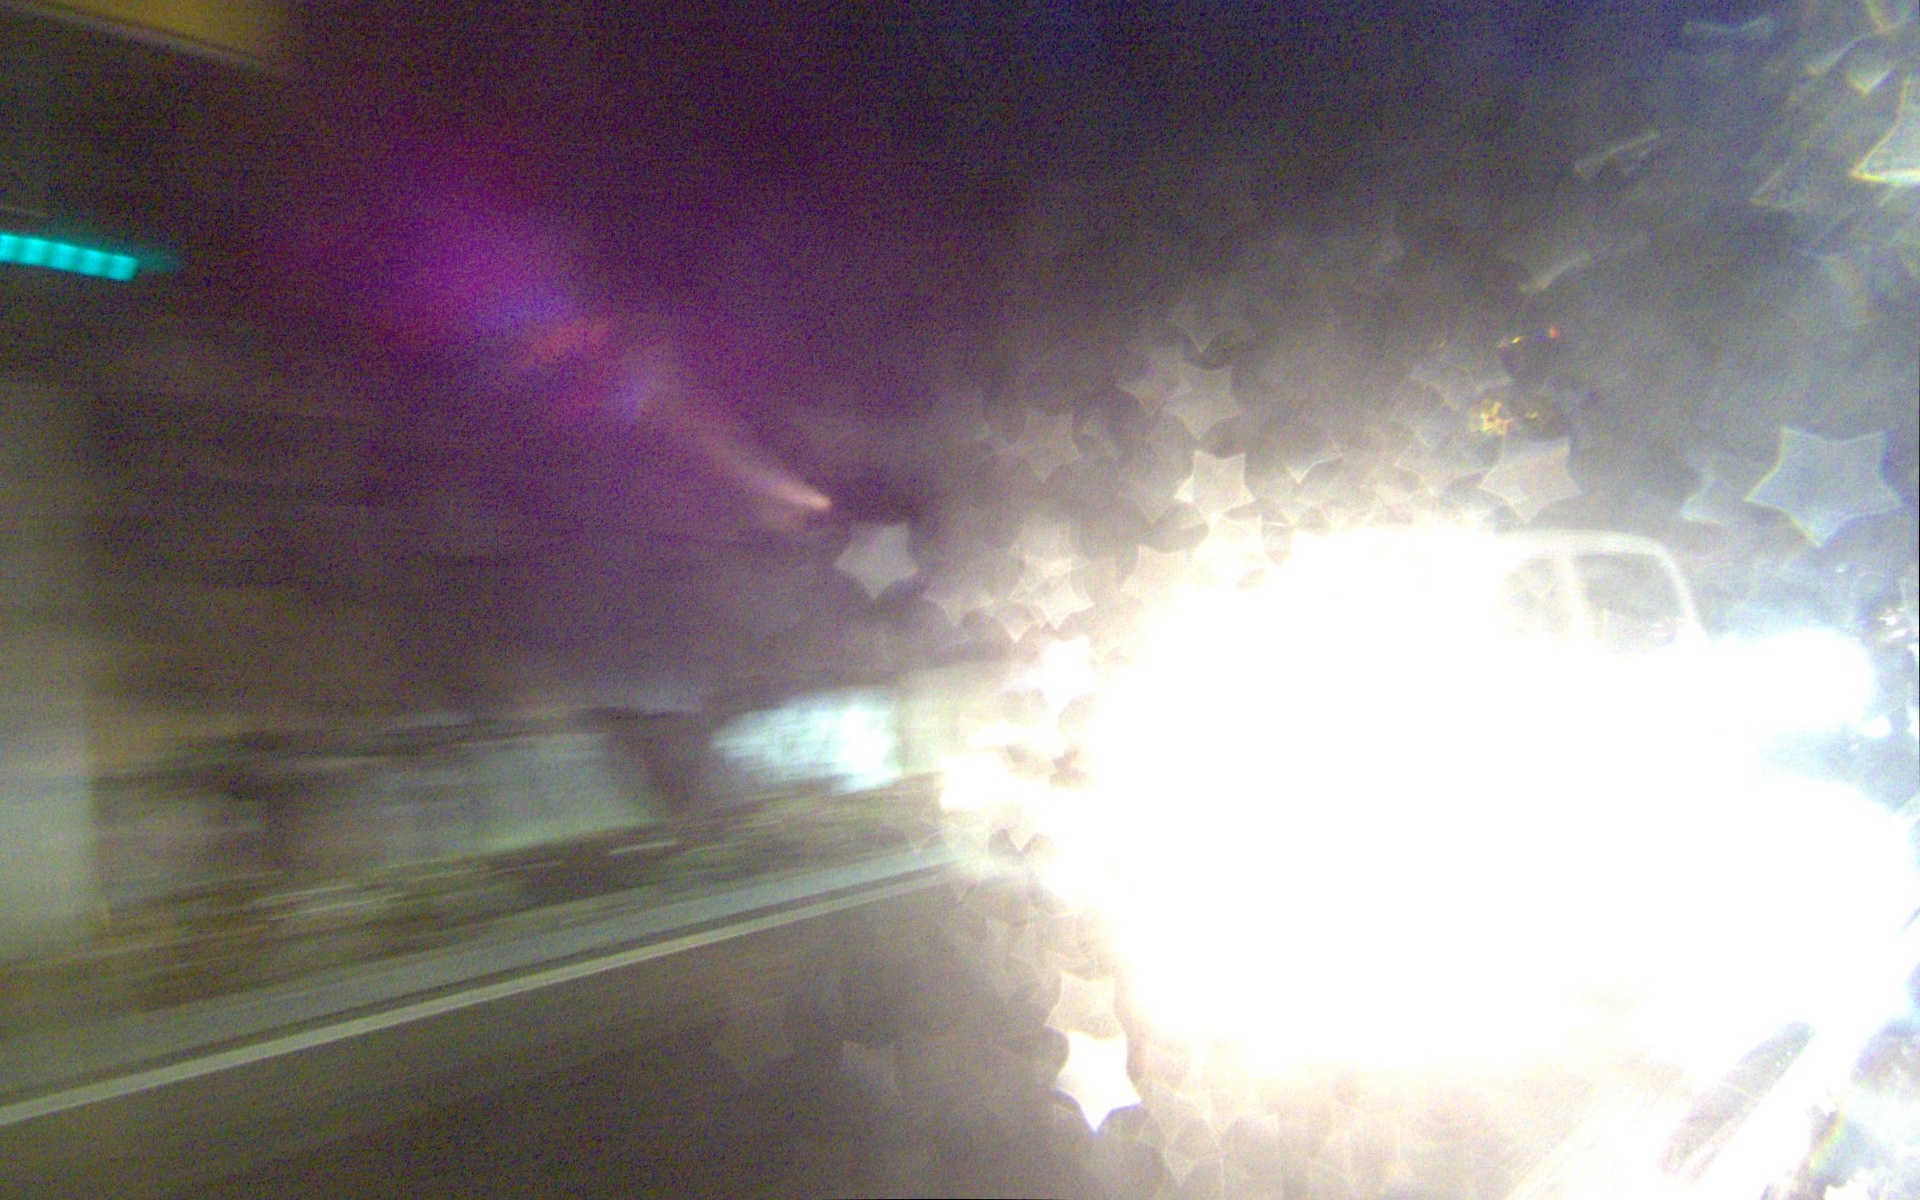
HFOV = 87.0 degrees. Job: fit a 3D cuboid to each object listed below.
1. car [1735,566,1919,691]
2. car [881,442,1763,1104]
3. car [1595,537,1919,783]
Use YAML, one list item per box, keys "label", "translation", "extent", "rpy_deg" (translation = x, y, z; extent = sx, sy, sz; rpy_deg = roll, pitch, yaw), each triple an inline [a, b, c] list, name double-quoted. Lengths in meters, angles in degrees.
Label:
- label: "car"
  translation: [13.348, 0.312, 14.888]
  extent: [4.608, 1.572, 1.998]
  rpy_deg: [-1, 1, -38]
- label: "car"
  translation: [2.107, 0.376, 4.778]
  extent: [4.806, 1.608, 1.876]
  rpy_deg: [-1, 1, -42]
- label: "car"
  translation: [7.758, 0.411, 9.606]
  extent: [4.125, 1.835, 1.793]
  rpy_deg: [-1, 1, -41]
